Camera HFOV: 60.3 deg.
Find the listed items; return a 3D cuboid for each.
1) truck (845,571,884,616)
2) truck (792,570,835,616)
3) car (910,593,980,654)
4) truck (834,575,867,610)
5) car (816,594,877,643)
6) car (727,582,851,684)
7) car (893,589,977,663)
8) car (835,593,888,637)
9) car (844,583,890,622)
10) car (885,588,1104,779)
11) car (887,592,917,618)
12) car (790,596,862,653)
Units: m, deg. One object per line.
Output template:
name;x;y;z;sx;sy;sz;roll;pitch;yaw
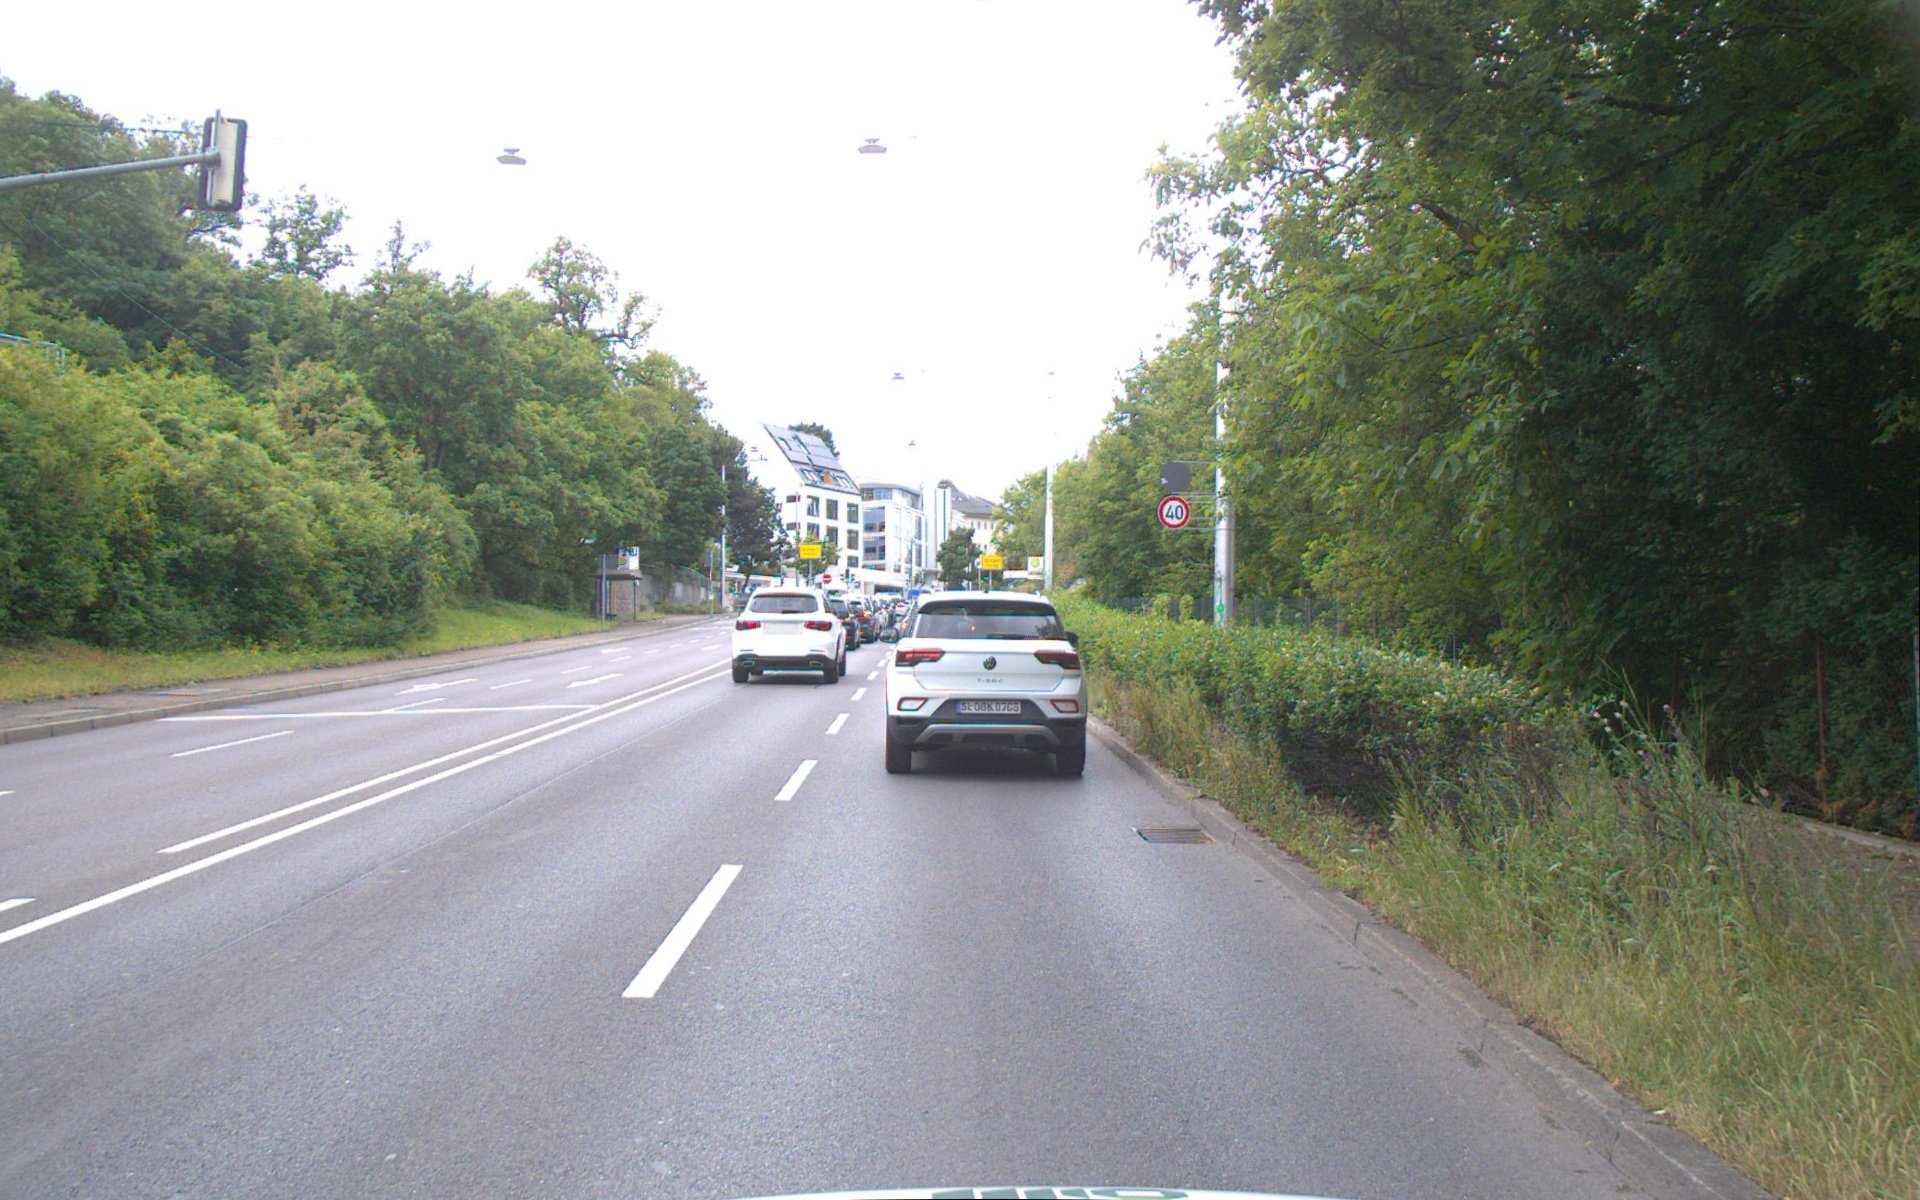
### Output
truck;-6.268;-0.411;108.665;2.314;2.830;4.477;-2;0;-1
truck;-9.176;-0.422;104.075;2.314;2.754;4.477;-2;0;-1
car;-0.432;0.609;44.823;1.792;1.552;3.999;-1;0;-1
truck;-10.157;-0.644;153.597;2.245;3.104;6.981;-1;0;2
car;-3.705;0.589;54.654;1.792;1.552;3.999;-1;0;-1
car;-3.004;0.555;29.826;1.879;1.699;3.999;1;0;-1
car;-0.581;0.558;37.519;1.792;1.552;3.999;-1;0;-1
car;-3.671;0.540;62.128;1.792;1.552;3.999;-1;0;-1
car;-3.904;0.112;69.808;1.792;1.552;3.999;-1;0;-1
car;0.241;0.683;15.571;1.792;1.552;3.999;0;0;-1
car;-3.586;0.289;103.549;1.792;1.552;3.999;-1;0;-1
car;-3.796;0.657;47.276;1.792;1.523;3.999;-1;0;-1
